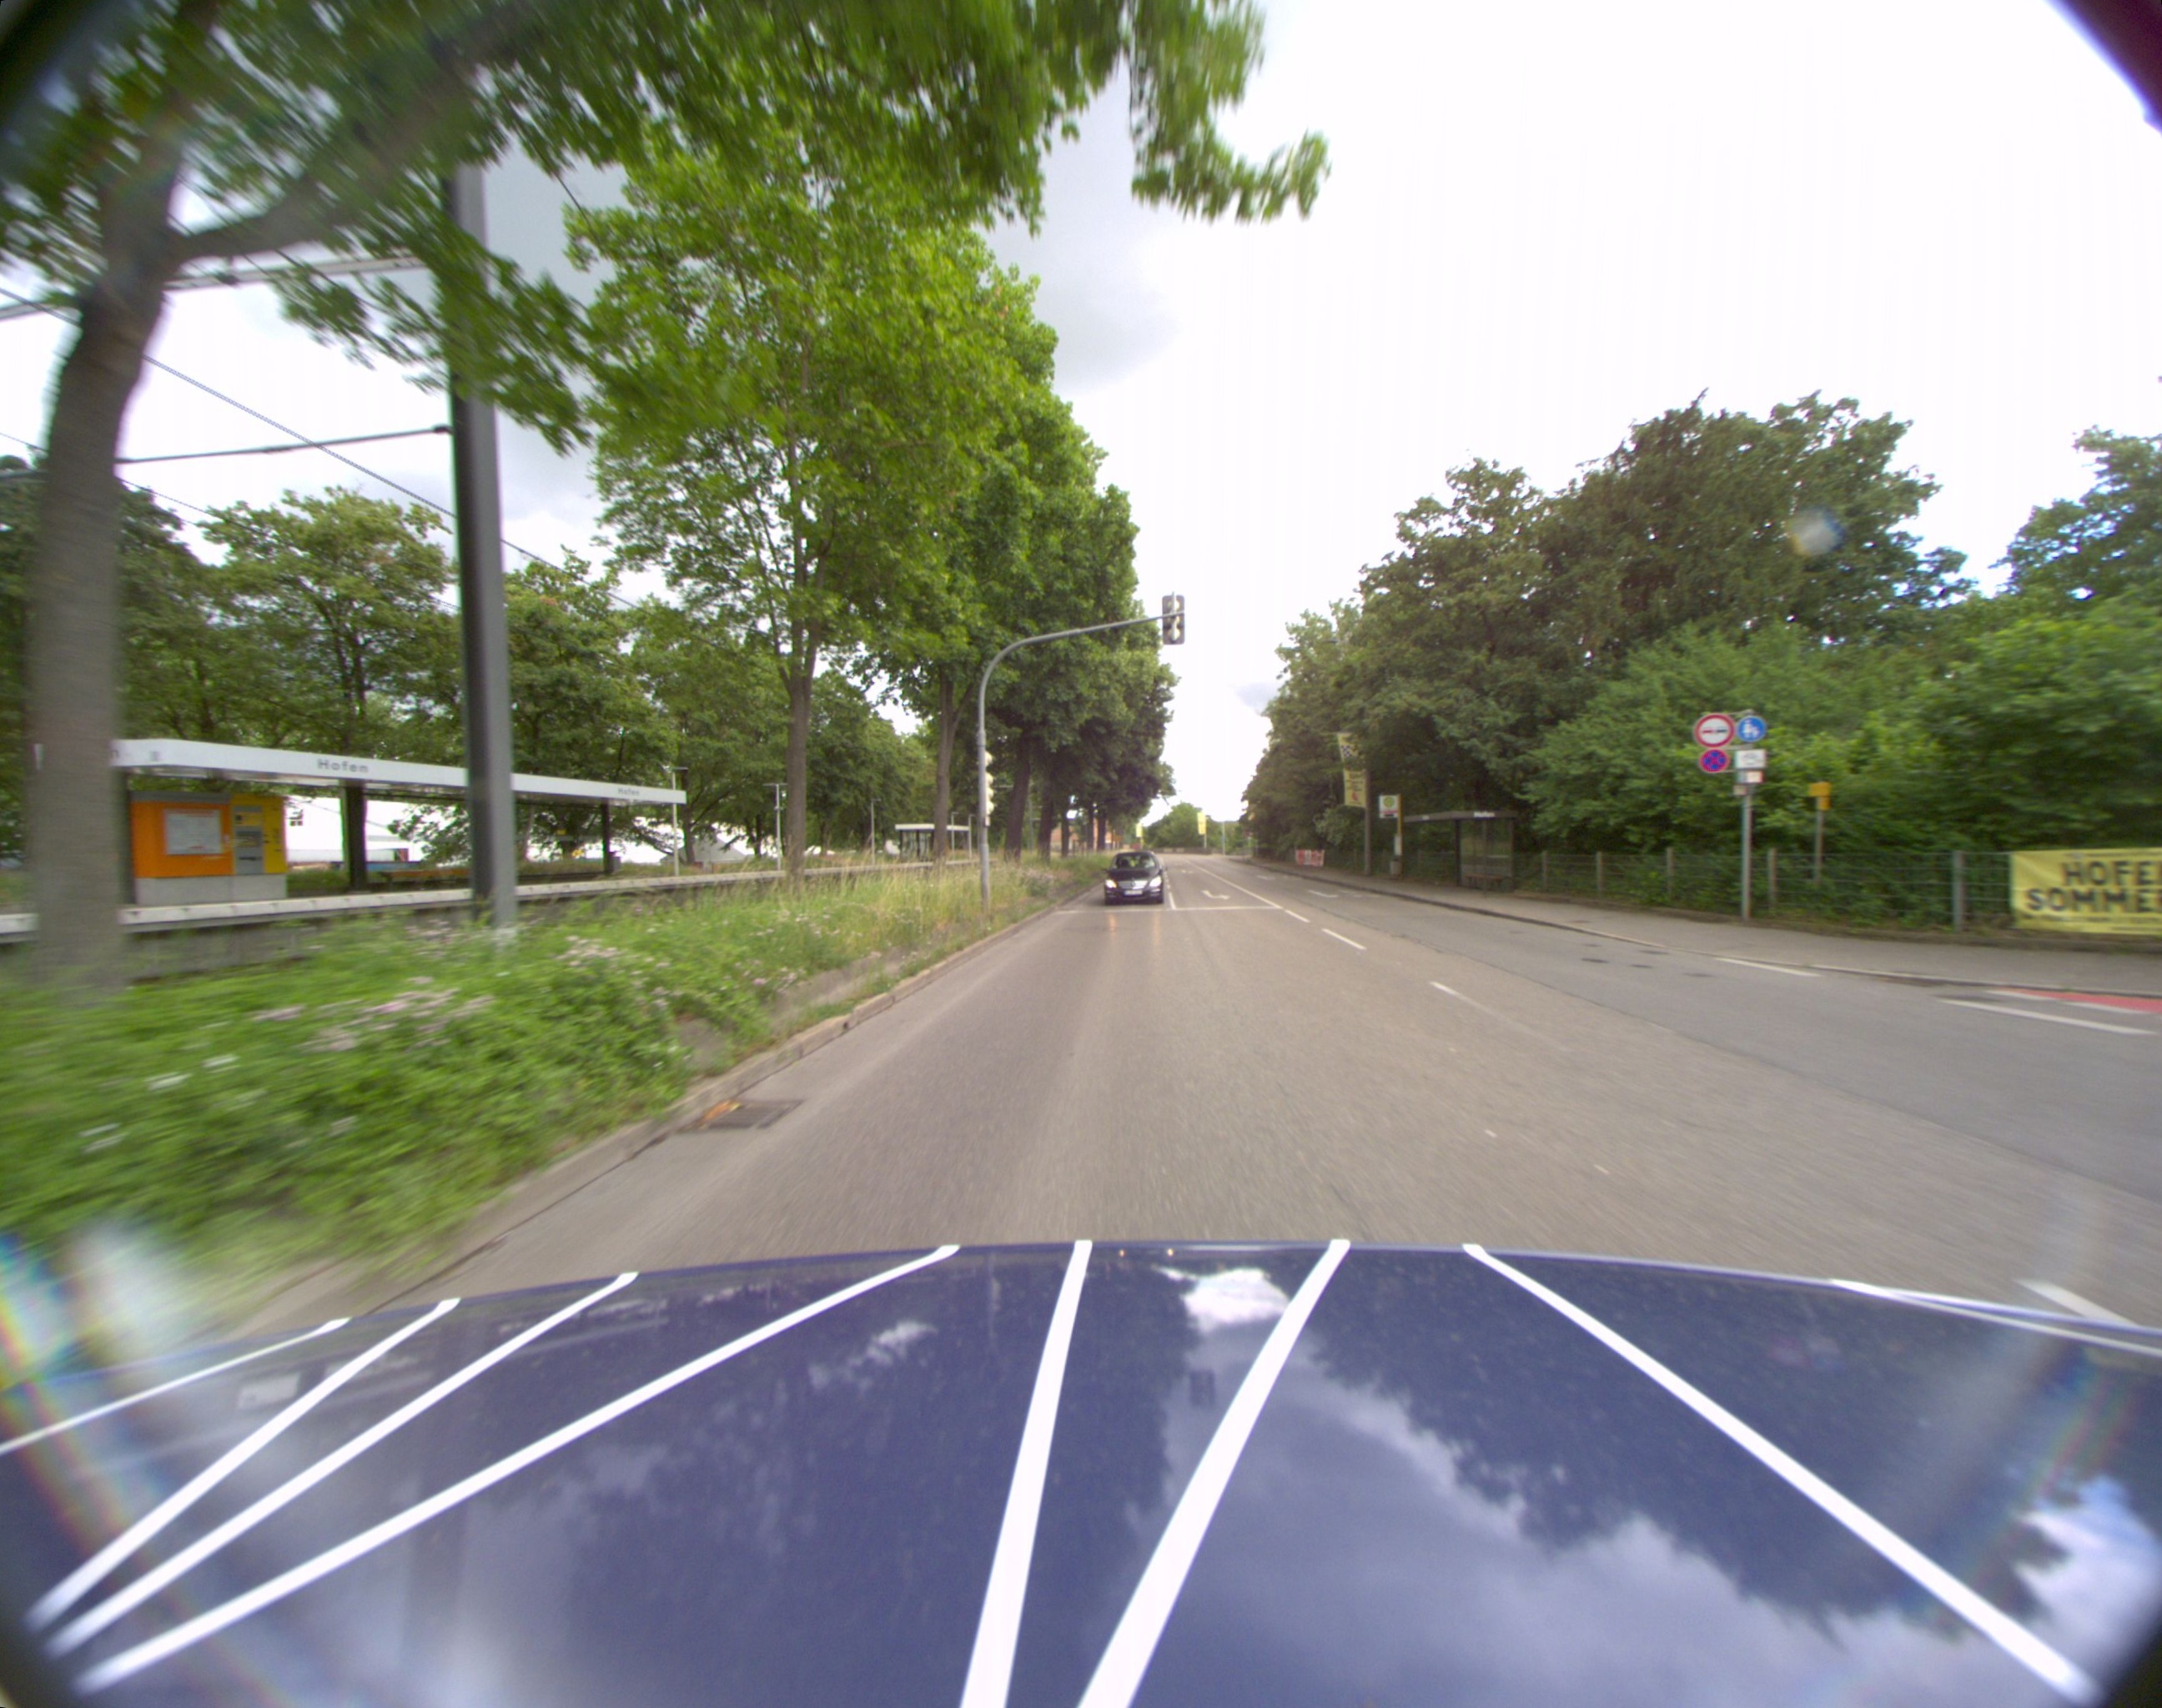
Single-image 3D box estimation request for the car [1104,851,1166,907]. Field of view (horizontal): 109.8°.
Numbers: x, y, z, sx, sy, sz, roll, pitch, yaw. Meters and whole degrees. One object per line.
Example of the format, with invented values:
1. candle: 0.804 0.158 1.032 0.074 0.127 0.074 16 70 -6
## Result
1. car: 1.768 0.708 23.934 1.750 1.556 4.076 0 1 7
